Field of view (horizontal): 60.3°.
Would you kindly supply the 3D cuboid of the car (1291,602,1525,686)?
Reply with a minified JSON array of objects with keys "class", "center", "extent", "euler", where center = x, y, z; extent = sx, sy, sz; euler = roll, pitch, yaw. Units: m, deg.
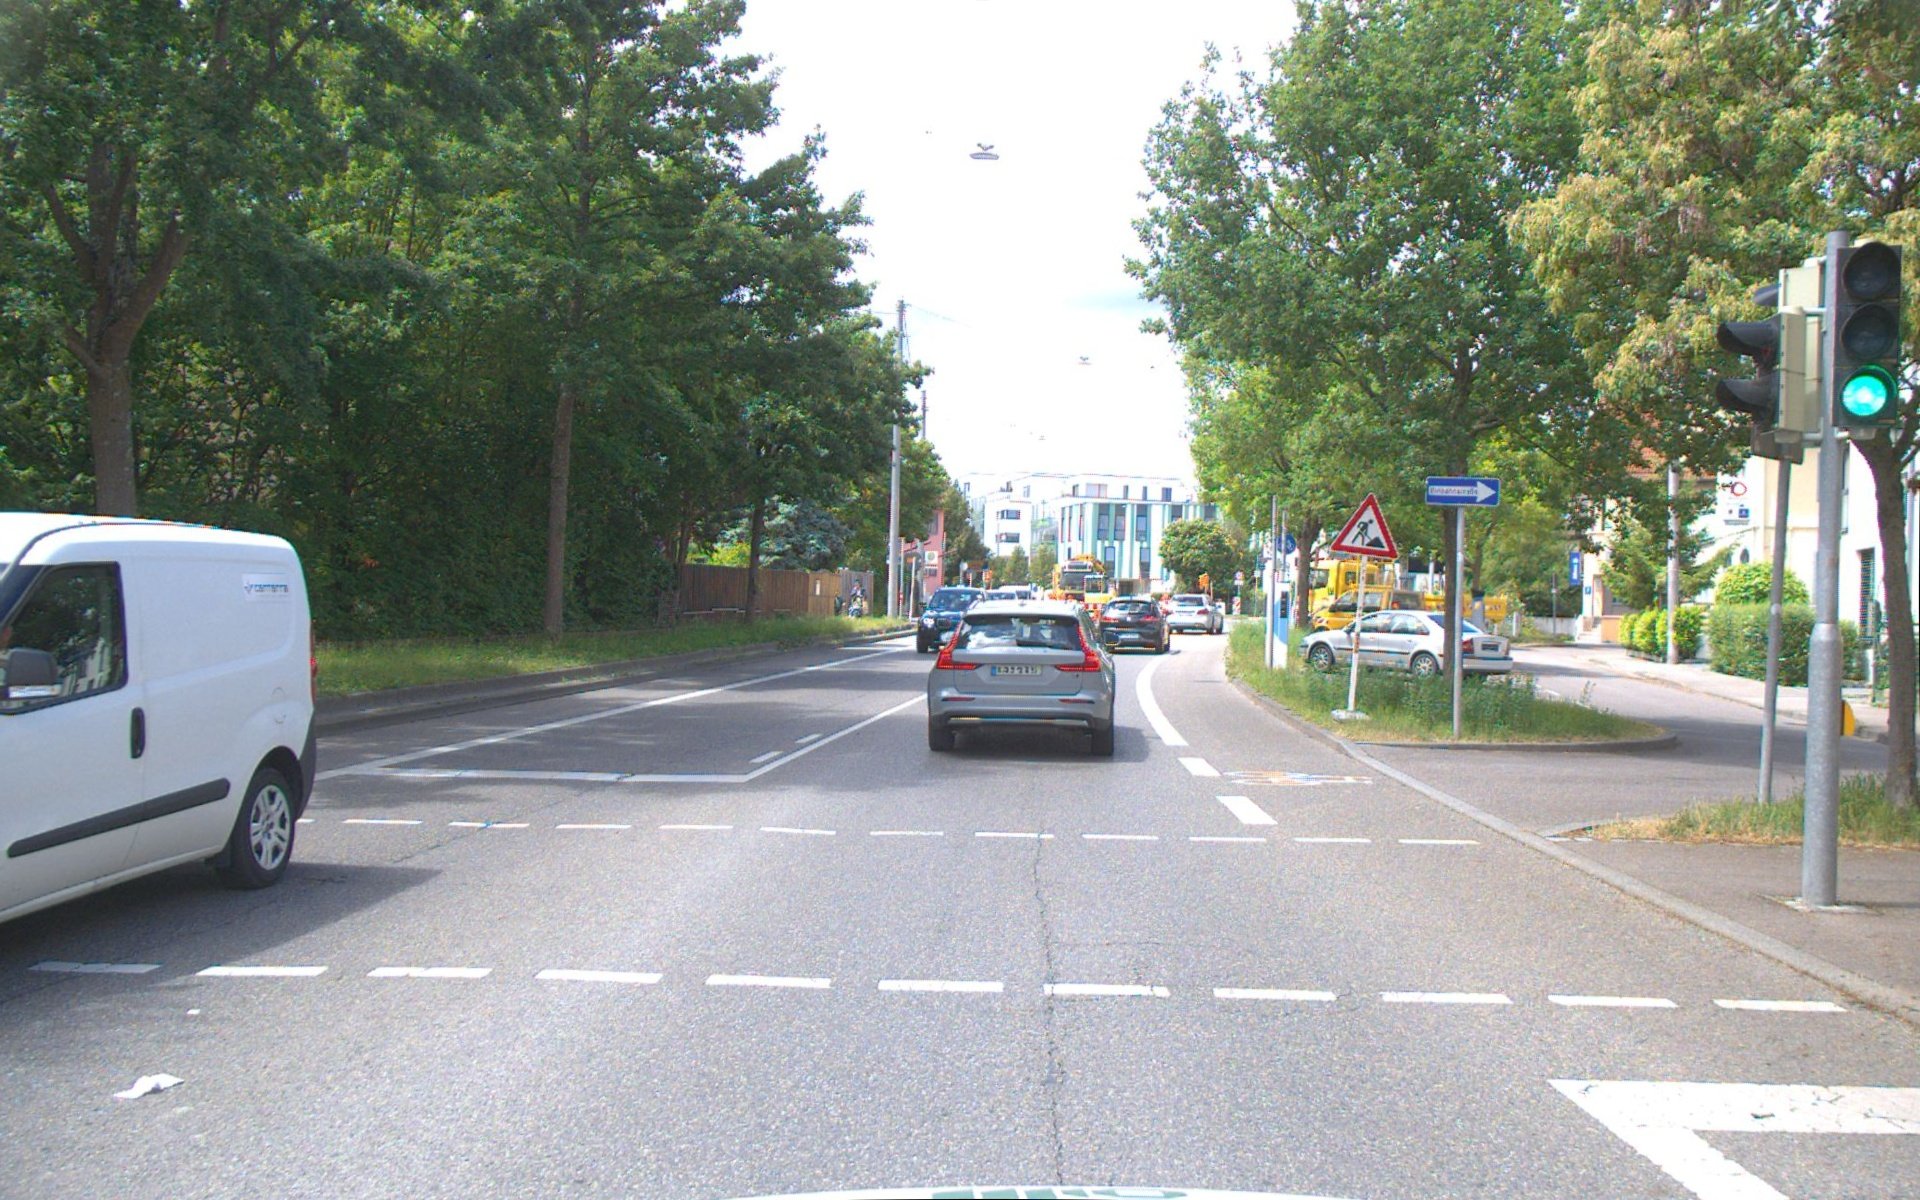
[{"class":"car","center":[9.322,0.896,34.744],"extent":[1.749,1.477,4.628],"euler":[3,0,-37]}]

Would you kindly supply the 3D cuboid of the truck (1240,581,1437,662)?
[{"class":"truck","center":[11.267,0.601,49.614],"extent":[1.982,2.048,5.596],"euler":[5,-1,-40]}]

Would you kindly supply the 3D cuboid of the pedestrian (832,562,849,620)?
[{"class":"pedestrian","center":[-4.250,-0.318,58.945],"extent":[0.393,2.048,0.415],"euler":[4,-1,8]}]

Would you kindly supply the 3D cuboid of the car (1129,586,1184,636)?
[{"class":"car","center":[8.980,0.510,75.328],"extent":[1.951,2.048,4.003],"euler":[4,-1,13]}]

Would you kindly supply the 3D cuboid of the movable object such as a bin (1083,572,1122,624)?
[{"class":"movable object such as a bin","center":[7.734,-0.119,89.524],"extent":[1.991,2.689,5.943],"euler":[1,0,6]}]

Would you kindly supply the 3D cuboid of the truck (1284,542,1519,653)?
[{"class":"truck","center":[13.665,-0.137,51.633],"extent":[2.744,3.060,6.612],"euler":[5,-1,-39]}]

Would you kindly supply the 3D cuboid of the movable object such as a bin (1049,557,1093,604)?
[{"class":"movable object such as a bin","center":[7.558,-1.330,113.055],"extent":[2.264,3.042,6.424],"euler":[1,0,-2]}]

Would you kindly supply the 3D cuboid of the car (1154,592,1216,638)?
[{"class":"car","center":[8.529,0.604,63.002],"extent":[2.058,1.536,4.002],"euler":[4,-1,5]}]

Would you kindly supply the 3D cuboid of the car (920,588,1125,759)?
[{"class":"car","center":[0.720,0.683,17.231],"extent":[1.887,1.567,4.002],"euler":[0,0,4]}]

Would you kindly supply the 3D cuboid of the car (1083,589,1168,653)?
[{"class":"car","center":[4.316,0.550,43.506],"extent":[1.628,1.534,3.700],"euler":[3,-1,-3]}]

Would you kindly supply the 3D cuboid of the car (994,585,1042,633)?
[{"class":"car","center":[2.160,0.364,60.818],"extent":[1.672,1.646,4.001],"euler":[2,-1,2]}]

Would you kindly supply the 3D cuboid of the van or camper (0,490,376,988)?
[{"class":"van or camper","center":[-4.310,0.473,6.973],"extent":[1.822,1.807,4.382],"euler":[2,0,4]}]

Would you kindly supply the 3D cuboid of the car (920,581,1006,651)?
[{"class":"car","center":[0.136,0.400,42.830],"extent":[1.840,1.717,4.249],"euler":[0,0,5]}]

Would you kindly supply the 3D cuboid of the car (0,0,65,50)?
[{"class":"car","center":[-13.208,-8.299,20.587],"extent":[1.790,1.353,4.001],"euler":[4,-2,4]}]

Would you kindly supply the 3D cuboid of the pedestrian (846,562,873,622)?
[{"class":"pedestrian","center":[-3.530,-0.276,58.305],"extent":[0.700,2.048,0.772],"euler":[4,-1,4]}]
